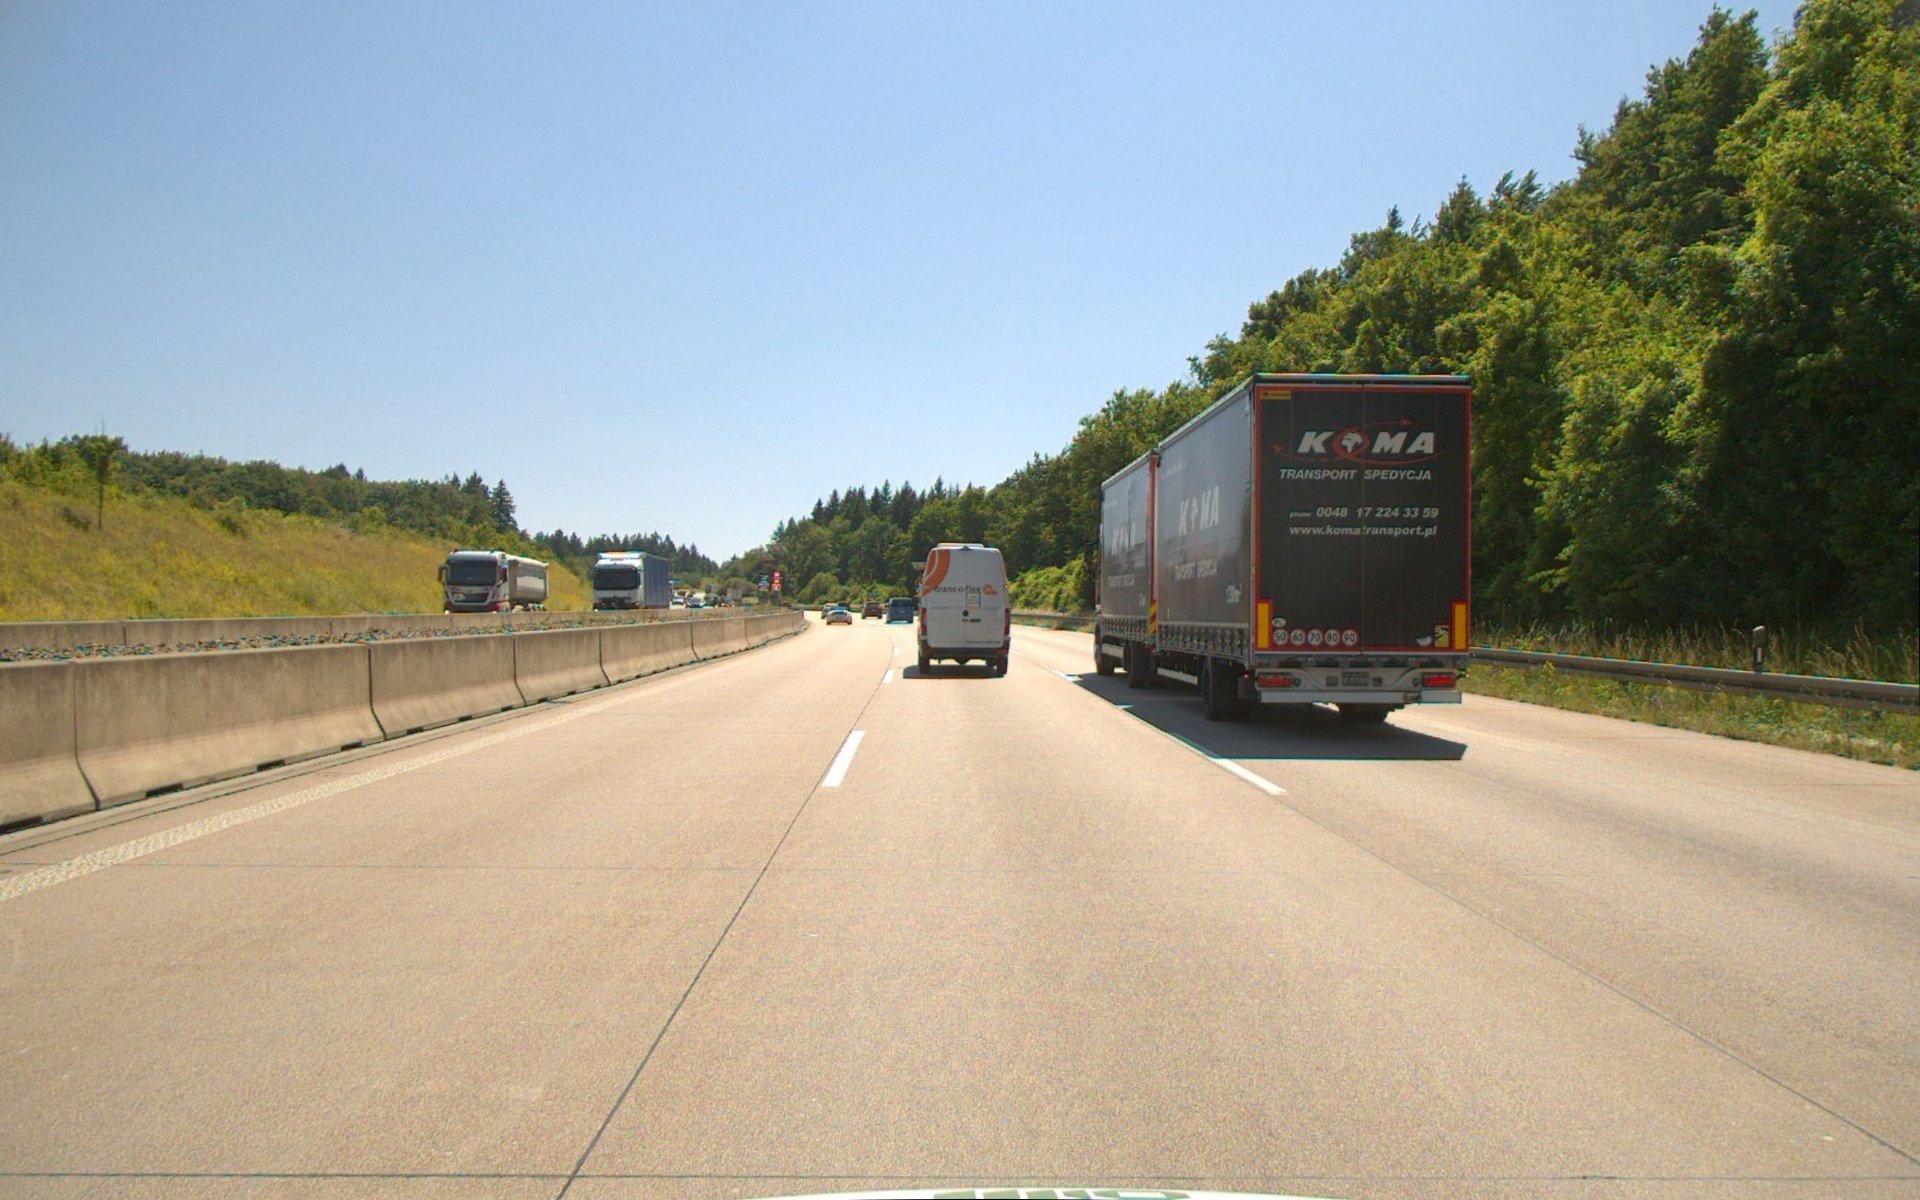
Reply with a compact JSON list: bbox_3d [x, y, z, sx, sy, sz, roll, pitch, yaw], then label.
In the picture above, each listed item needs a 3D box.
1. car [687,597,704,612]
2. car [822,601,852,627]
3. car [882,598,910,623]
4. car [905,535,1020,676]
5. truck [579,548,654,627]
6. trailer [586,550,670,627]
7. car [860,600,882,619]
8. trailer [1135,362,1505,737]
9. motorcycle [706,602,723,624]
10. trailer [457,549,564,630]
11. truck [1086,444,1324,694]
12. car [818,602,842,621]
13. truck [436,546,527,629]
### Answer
[{"bbox_3d":[-32.604,0.511,204.178,1.956,1.803,3.994,0,0,-7],"label":"car"},{"bbox_3d":[-8.859,1.023,119.561,1.953,1.713,3.998,3,-1,-2],"label":"car"},{"bbox_3d":[-4.809,0.805,124.704,1.954,1.713,3.997,3,-1,-4],"label":"car"},{"bbox_3d":[-0.037,0.094,36.941,2.182,2.894,5.450,1,0,-4],"label":"car"},{"bbox_3d":[-18.416,-0.610,88.909,3.100,4.001,5.830,3,-1,-5],"label":"truck"},{"bbox_3d":[-19.026,-0.538,95.781,3.100,4.001,13.851,3,-1,-5],"label":"trailer"},{"bbox_3d":[-8.509,0.921,158.380,1.954,1.713,3.997,3,-1,-4],"label":"car"},{"bbox_3d":[4.444,-0.533,22.742,3.070,4.087,9.087,1,0,0],"label":"trailer"},{"bbox_3d":[-18.265,0.969,122.988,0.988,1.577,2.482,1,0,-2],"label":"motorcycle"},{"bbox_3d":[-21.243,-0.410,78.662,2.670,3.473,8.952,3,-1,-1],"label":"trailer"},{"bbox_3d":[4.452,-0.485,32.590,3.095,4.087,10.606,1,0,0],"label":"truck"},{"bbox_3d":[-12.501,1.097,158.959,1.957,1.713,3.991,3,-1,-9],"label":"car"},{"bbox_3d":[-21.117,-0.505,73.215,2.670,3.473,4.511,3,-1,-1],"label":"truck"}]
